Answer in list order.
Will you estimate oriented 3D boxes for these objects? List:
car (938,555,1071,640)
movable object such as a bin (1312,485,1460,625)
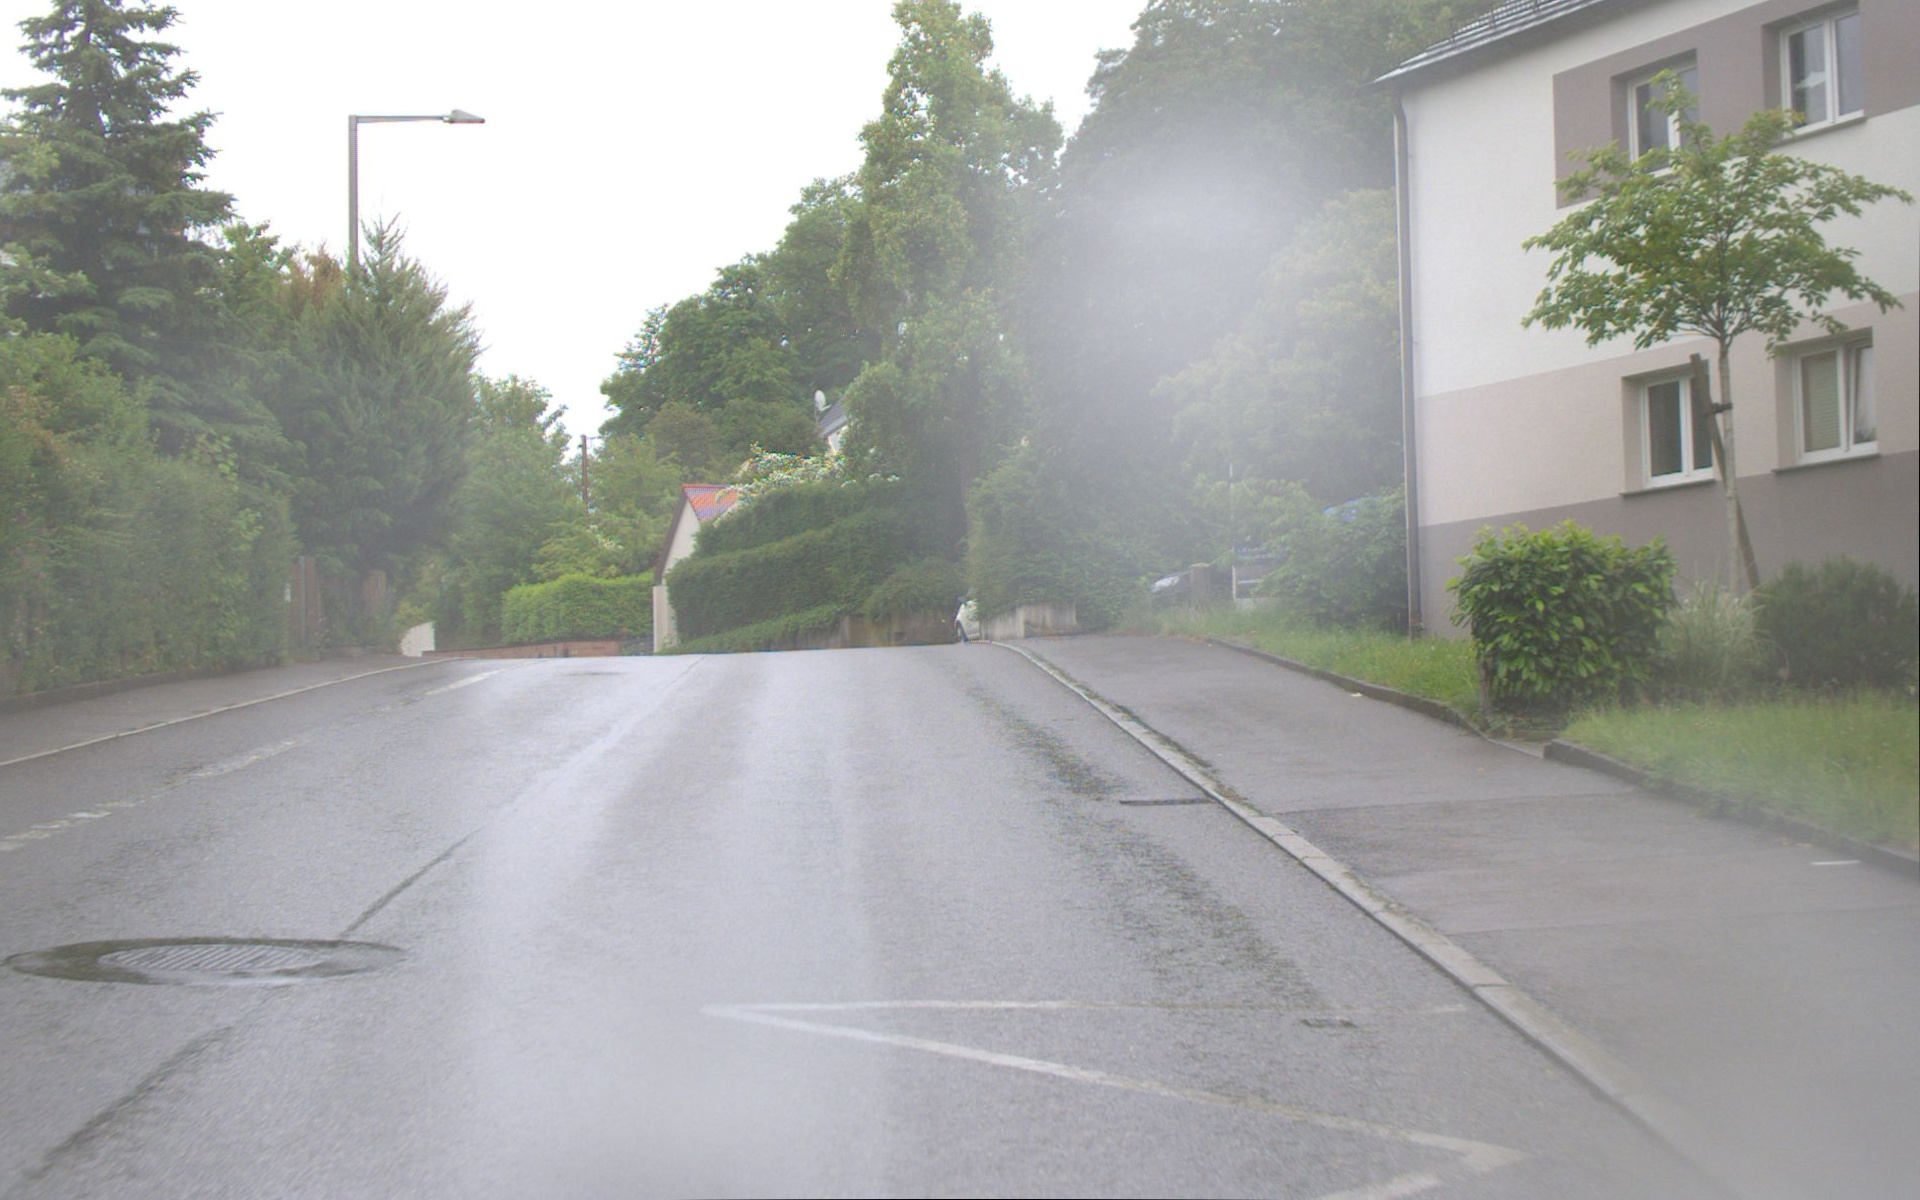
[{"bbox_3d":[0.893,-0.034,71.663,1.531,1.530,3.846,-6,0,-17],"label":"car"},{"bbox_3d":[4.691,-0.496,37.870,1.240,1.492,0.983,-2,1,-35],"label":"movable object such as a bin"}]
